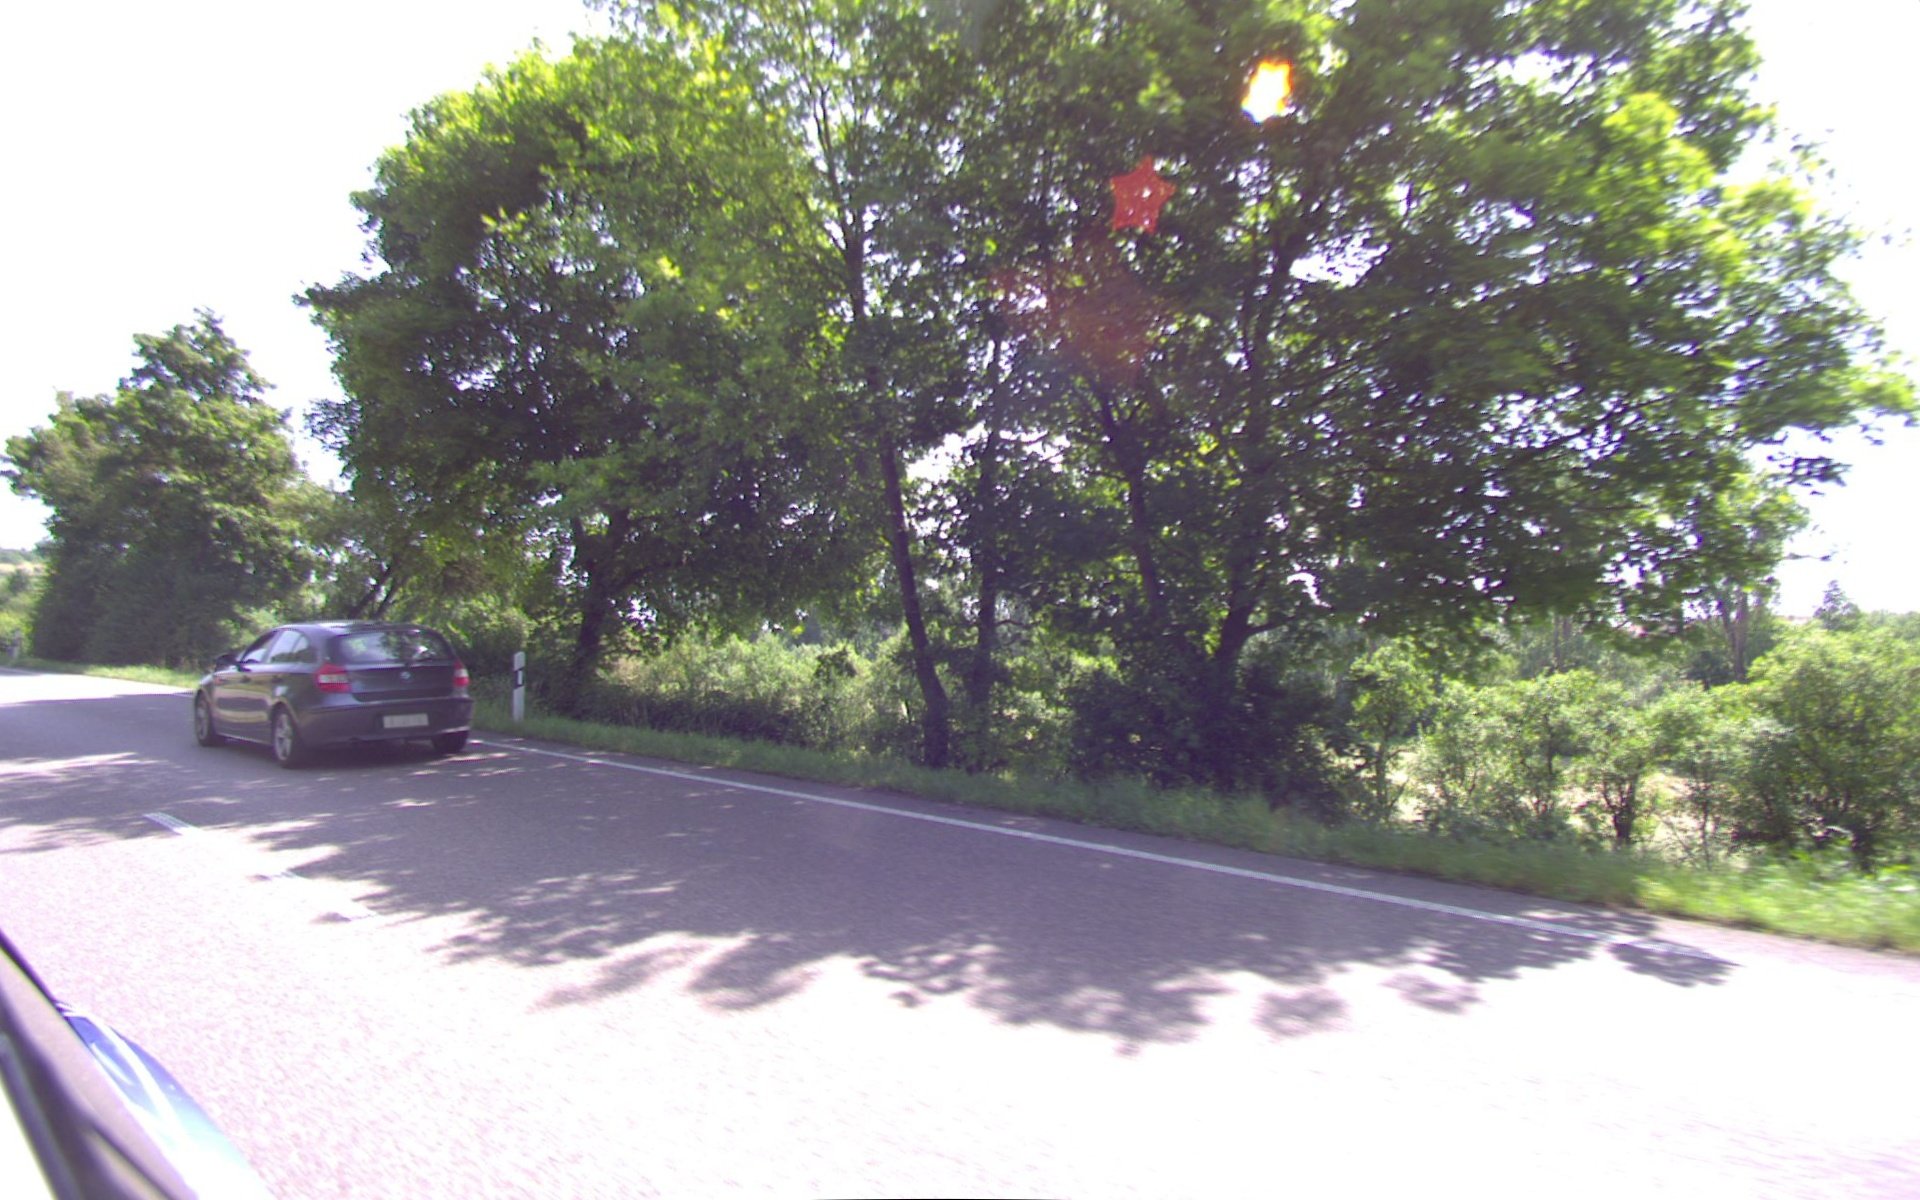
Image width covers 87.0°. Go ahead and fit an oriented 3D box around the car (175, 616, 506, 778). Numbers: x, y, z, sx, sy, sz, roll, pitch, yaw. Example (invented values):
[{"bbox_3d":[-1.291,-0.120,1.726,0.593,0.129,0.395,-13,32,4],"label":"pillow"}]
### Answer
[{"bbox_3d":[-6.852,0.904,11.021,4.264,1.443,1.741,-1,-2,39],"label":"car"}]
